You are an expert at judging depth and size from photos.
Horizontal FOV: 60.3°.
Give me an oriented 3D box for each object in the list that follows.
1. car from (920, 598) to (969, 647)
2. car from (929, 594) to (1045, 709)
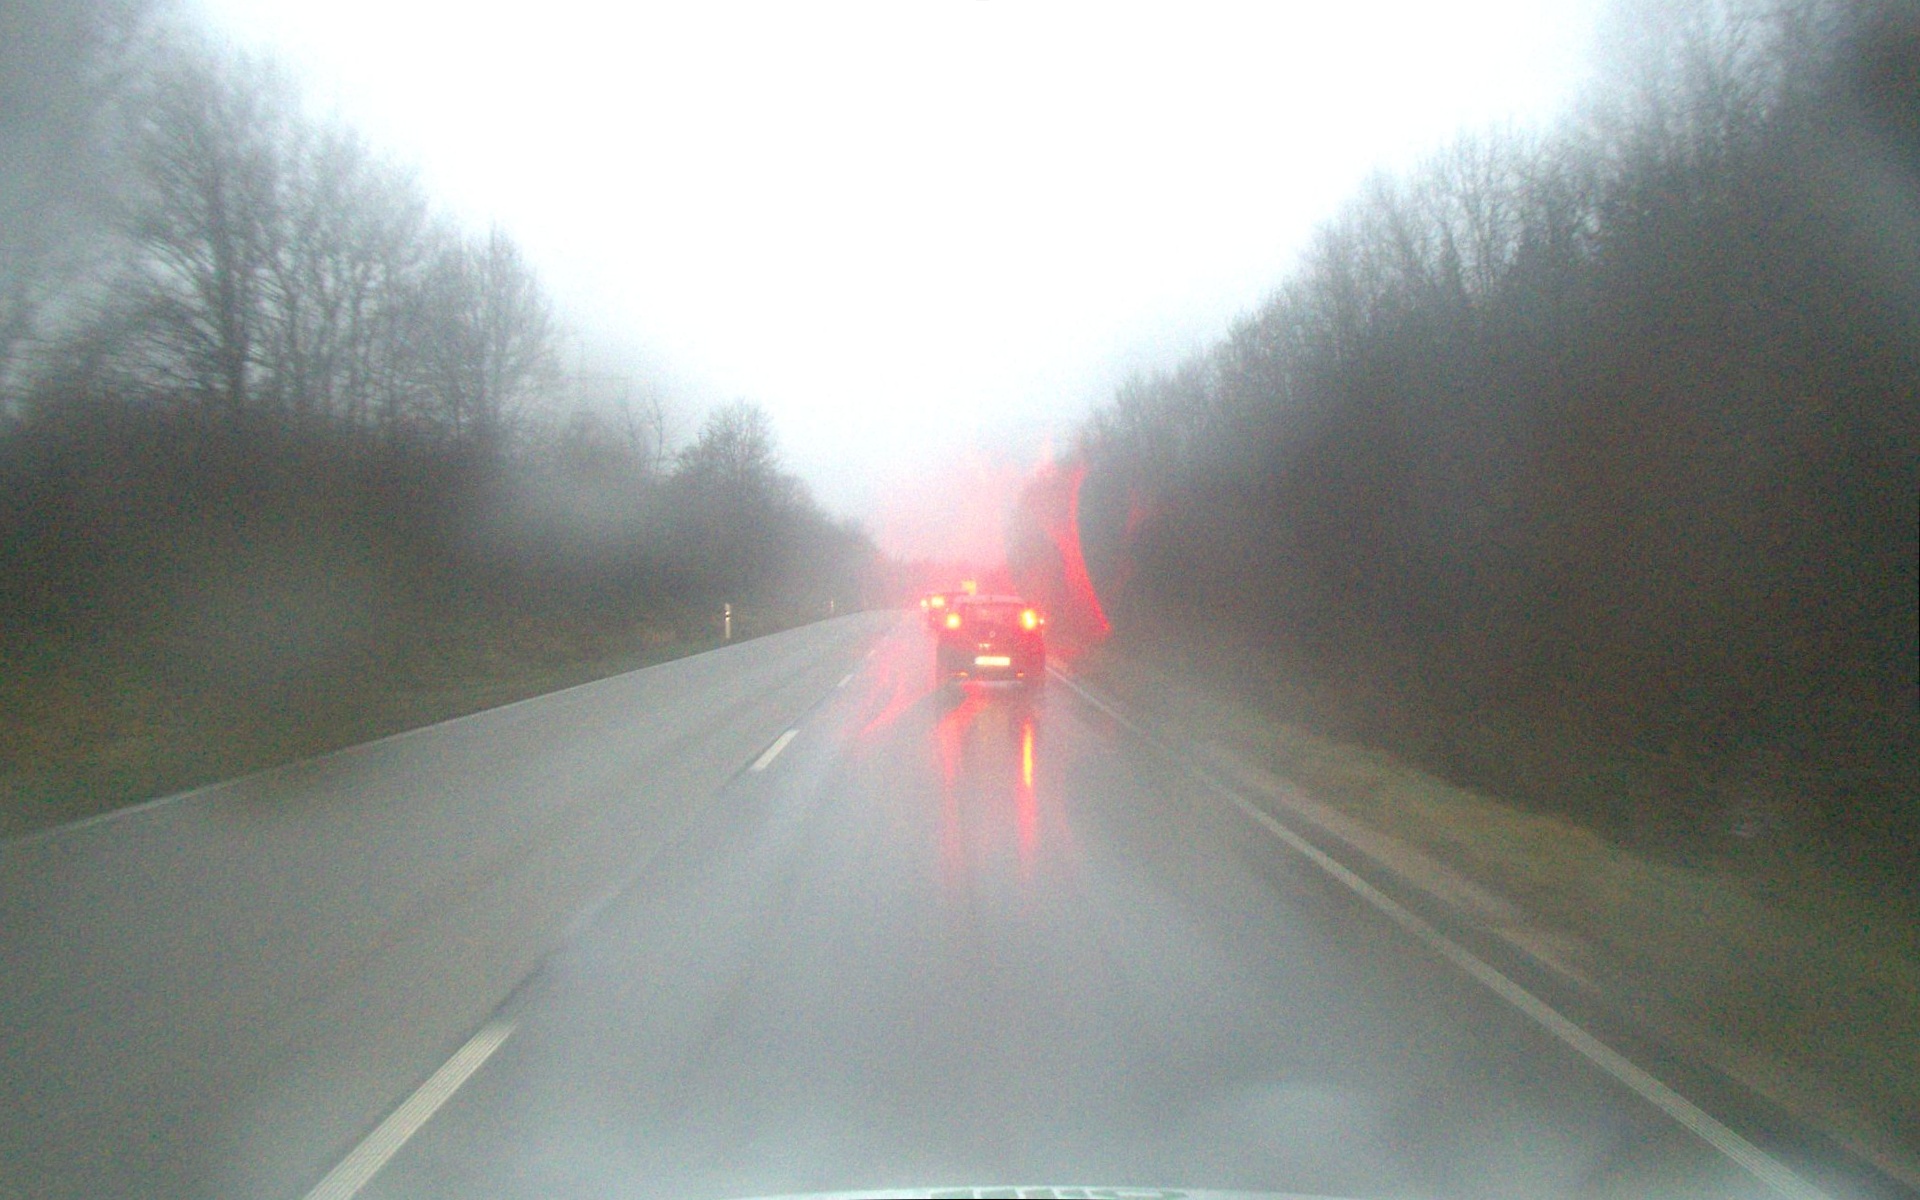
[{"bbox_3d":[-0.531,0.801,60.056,1.692,1.672,4.000,1,0,0],"label":"car"},{"bbox_3d":[0.411,0.768,26.336,1.692,1.672,4.000,1,0,0],"label":"car"}]
